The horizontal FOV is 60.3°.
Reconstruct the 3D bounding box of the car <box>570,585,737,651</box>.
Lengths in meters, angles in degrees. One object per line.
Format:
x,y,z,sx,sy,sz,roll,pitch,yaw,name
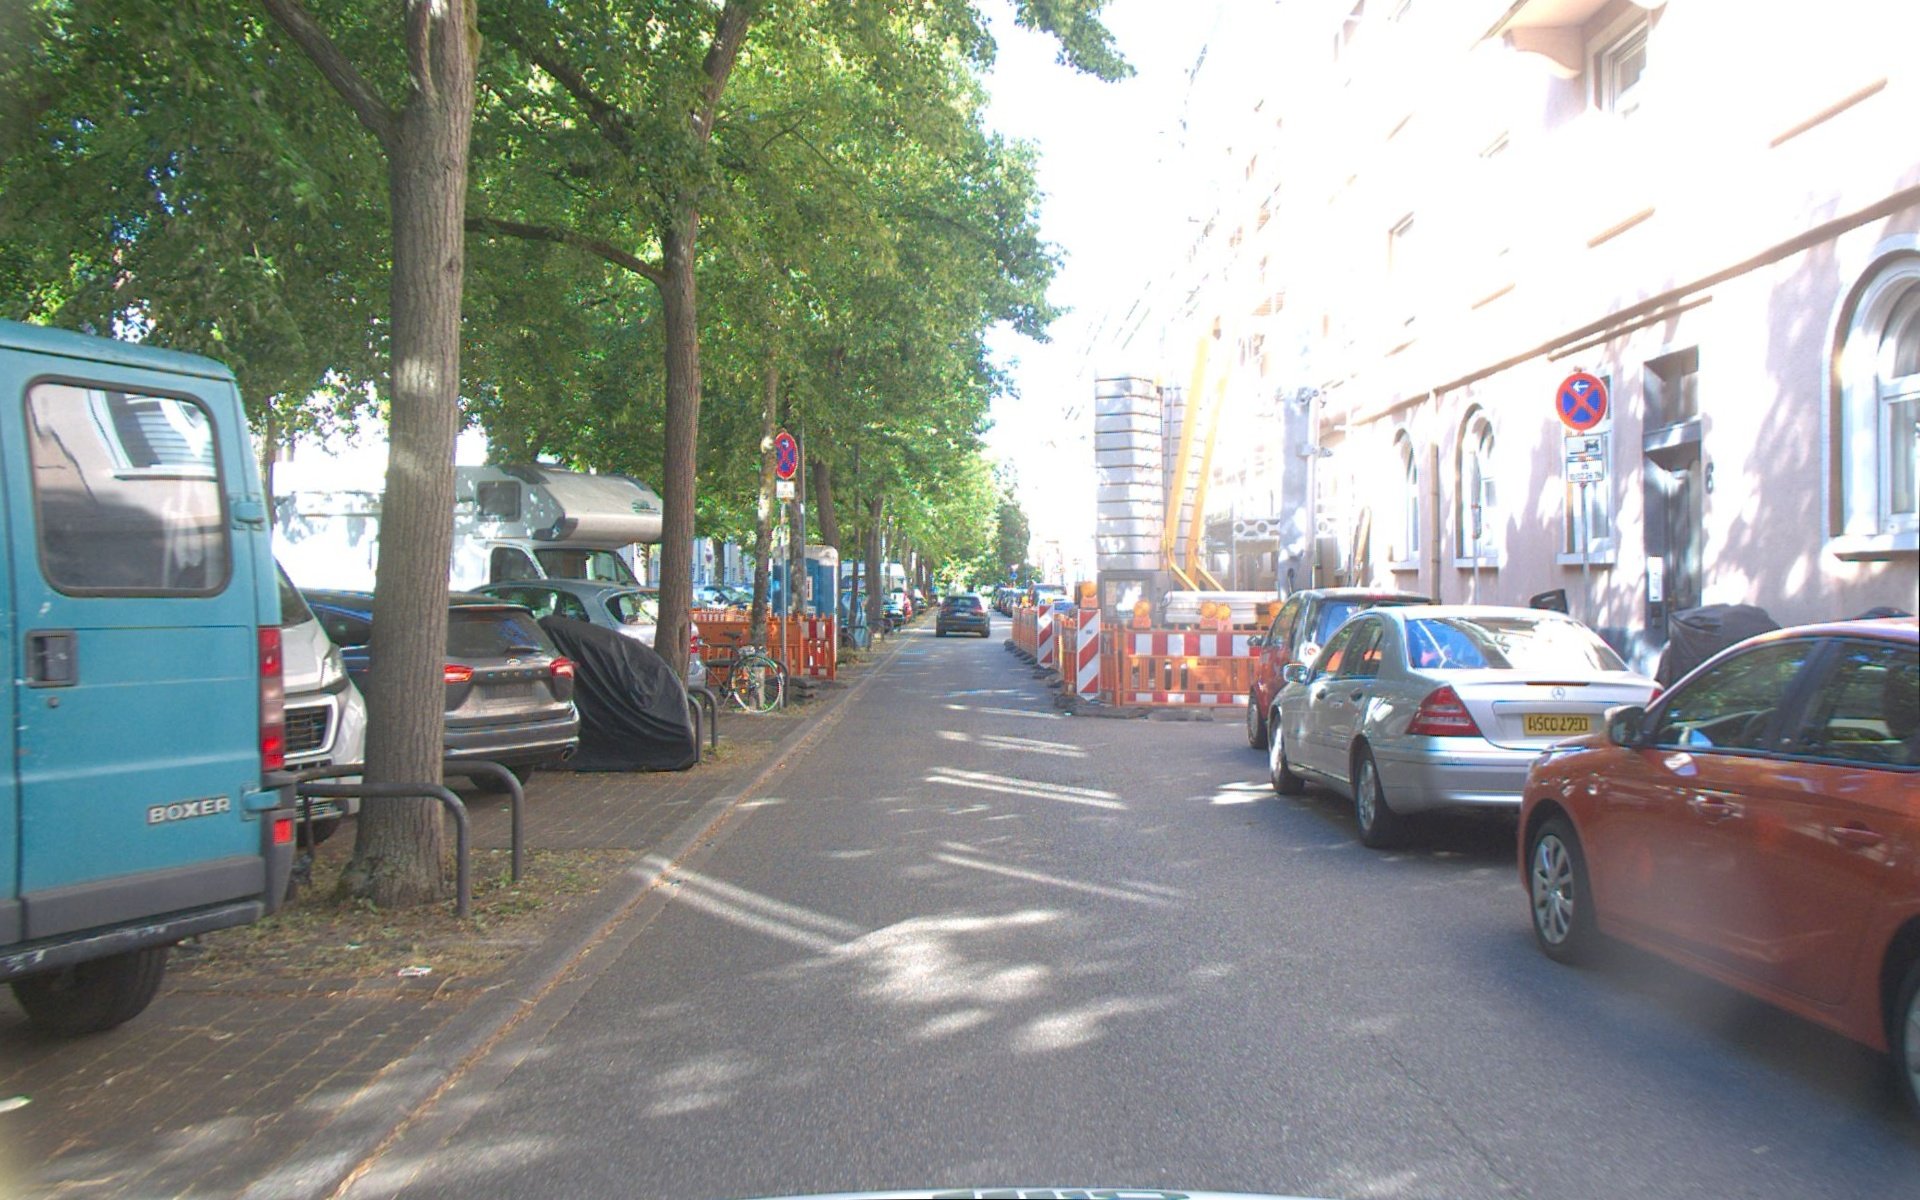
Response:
-8.009,0.464,43.238,3.910,1.635,1.998,-1,1,28,car

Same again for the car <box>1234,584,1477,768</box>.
3.585,0.628,15.425,1.559,1.557,2.780,0,0,-1,car

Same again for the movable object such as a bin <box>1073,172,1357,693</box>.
3.673,-2.224,23.770,3.416,6.878,2.362,0,0,32,movable object such as a bin

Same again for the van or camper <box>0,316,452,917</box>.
-5.942,0.086,9.796,5.757,2.683,2.251,-1,0,30,van or camper

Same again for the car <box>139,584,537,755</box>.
-6.214,0.614,16.417,3.884,1.500,1.817,0,0,34,car

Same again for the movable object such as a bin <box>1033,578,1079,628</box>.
4.510,0.105,78.194,1.760,2.272,4.605,-1,1,-1,movable object such as a bin

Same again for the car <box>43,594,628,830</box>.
-4.502,0.695,11.888,3.876,1.439,1.821,0,0,27,car

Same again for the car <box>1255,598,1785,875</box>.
3.387,0.725,11.057,1.953,1.434,4.500,0,1,-1,car

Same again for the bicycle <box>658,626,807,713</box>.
-2.786,0.836,20.198,1.858,1.024,0.430,0,0,24,bicycle

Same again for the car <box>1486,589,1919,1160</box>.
3.431,0.749,5.648,1.755,1.550,3.960,0,0,-5,car

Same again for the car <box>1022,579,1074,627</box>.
3.457,0.097,65.649,1.760,1.832,3.585,-1,1,-1,car

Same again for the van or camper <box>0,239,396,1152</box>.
-4.790,0.266,5.552,5.387,2.315,2.220,-1,0,24,van or camper

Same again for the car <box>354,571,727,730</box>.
-4.807,0.526,18.943,3.875,1.657,1.822,0,0,26,car

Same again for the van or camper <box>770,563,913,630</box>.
-4.634,-0.129,64.582,5.236,2.518,2.288,-1,1,32,van or camper

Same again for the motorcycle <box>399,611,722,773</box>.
-3.299,0.745,13.747,2.495,1.280,0.763,0,0,8,motorcycle

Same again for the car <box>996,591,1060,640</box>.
2.079,0.456,51.468,1.760,1.409,3.585,-1,1,-1,car

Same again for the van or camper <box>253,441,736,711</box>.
-6.508,-0.280,22.899,6.529,3.297,2.492,-1,0,29,van or camper

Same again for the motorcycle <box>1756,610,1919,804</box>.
6.287,0.694,11.285,0.537,1.214,1.832,-1,0,-11,motorcycle

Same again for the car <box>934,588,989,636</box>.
0.029,0.390,56.090,1.760,1.530,3.585,-1,1,-1,car

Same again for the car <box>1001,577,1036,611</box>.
3.223,-0.331,91.828,1.760,1.832,3.585,-1,1,-1,car
